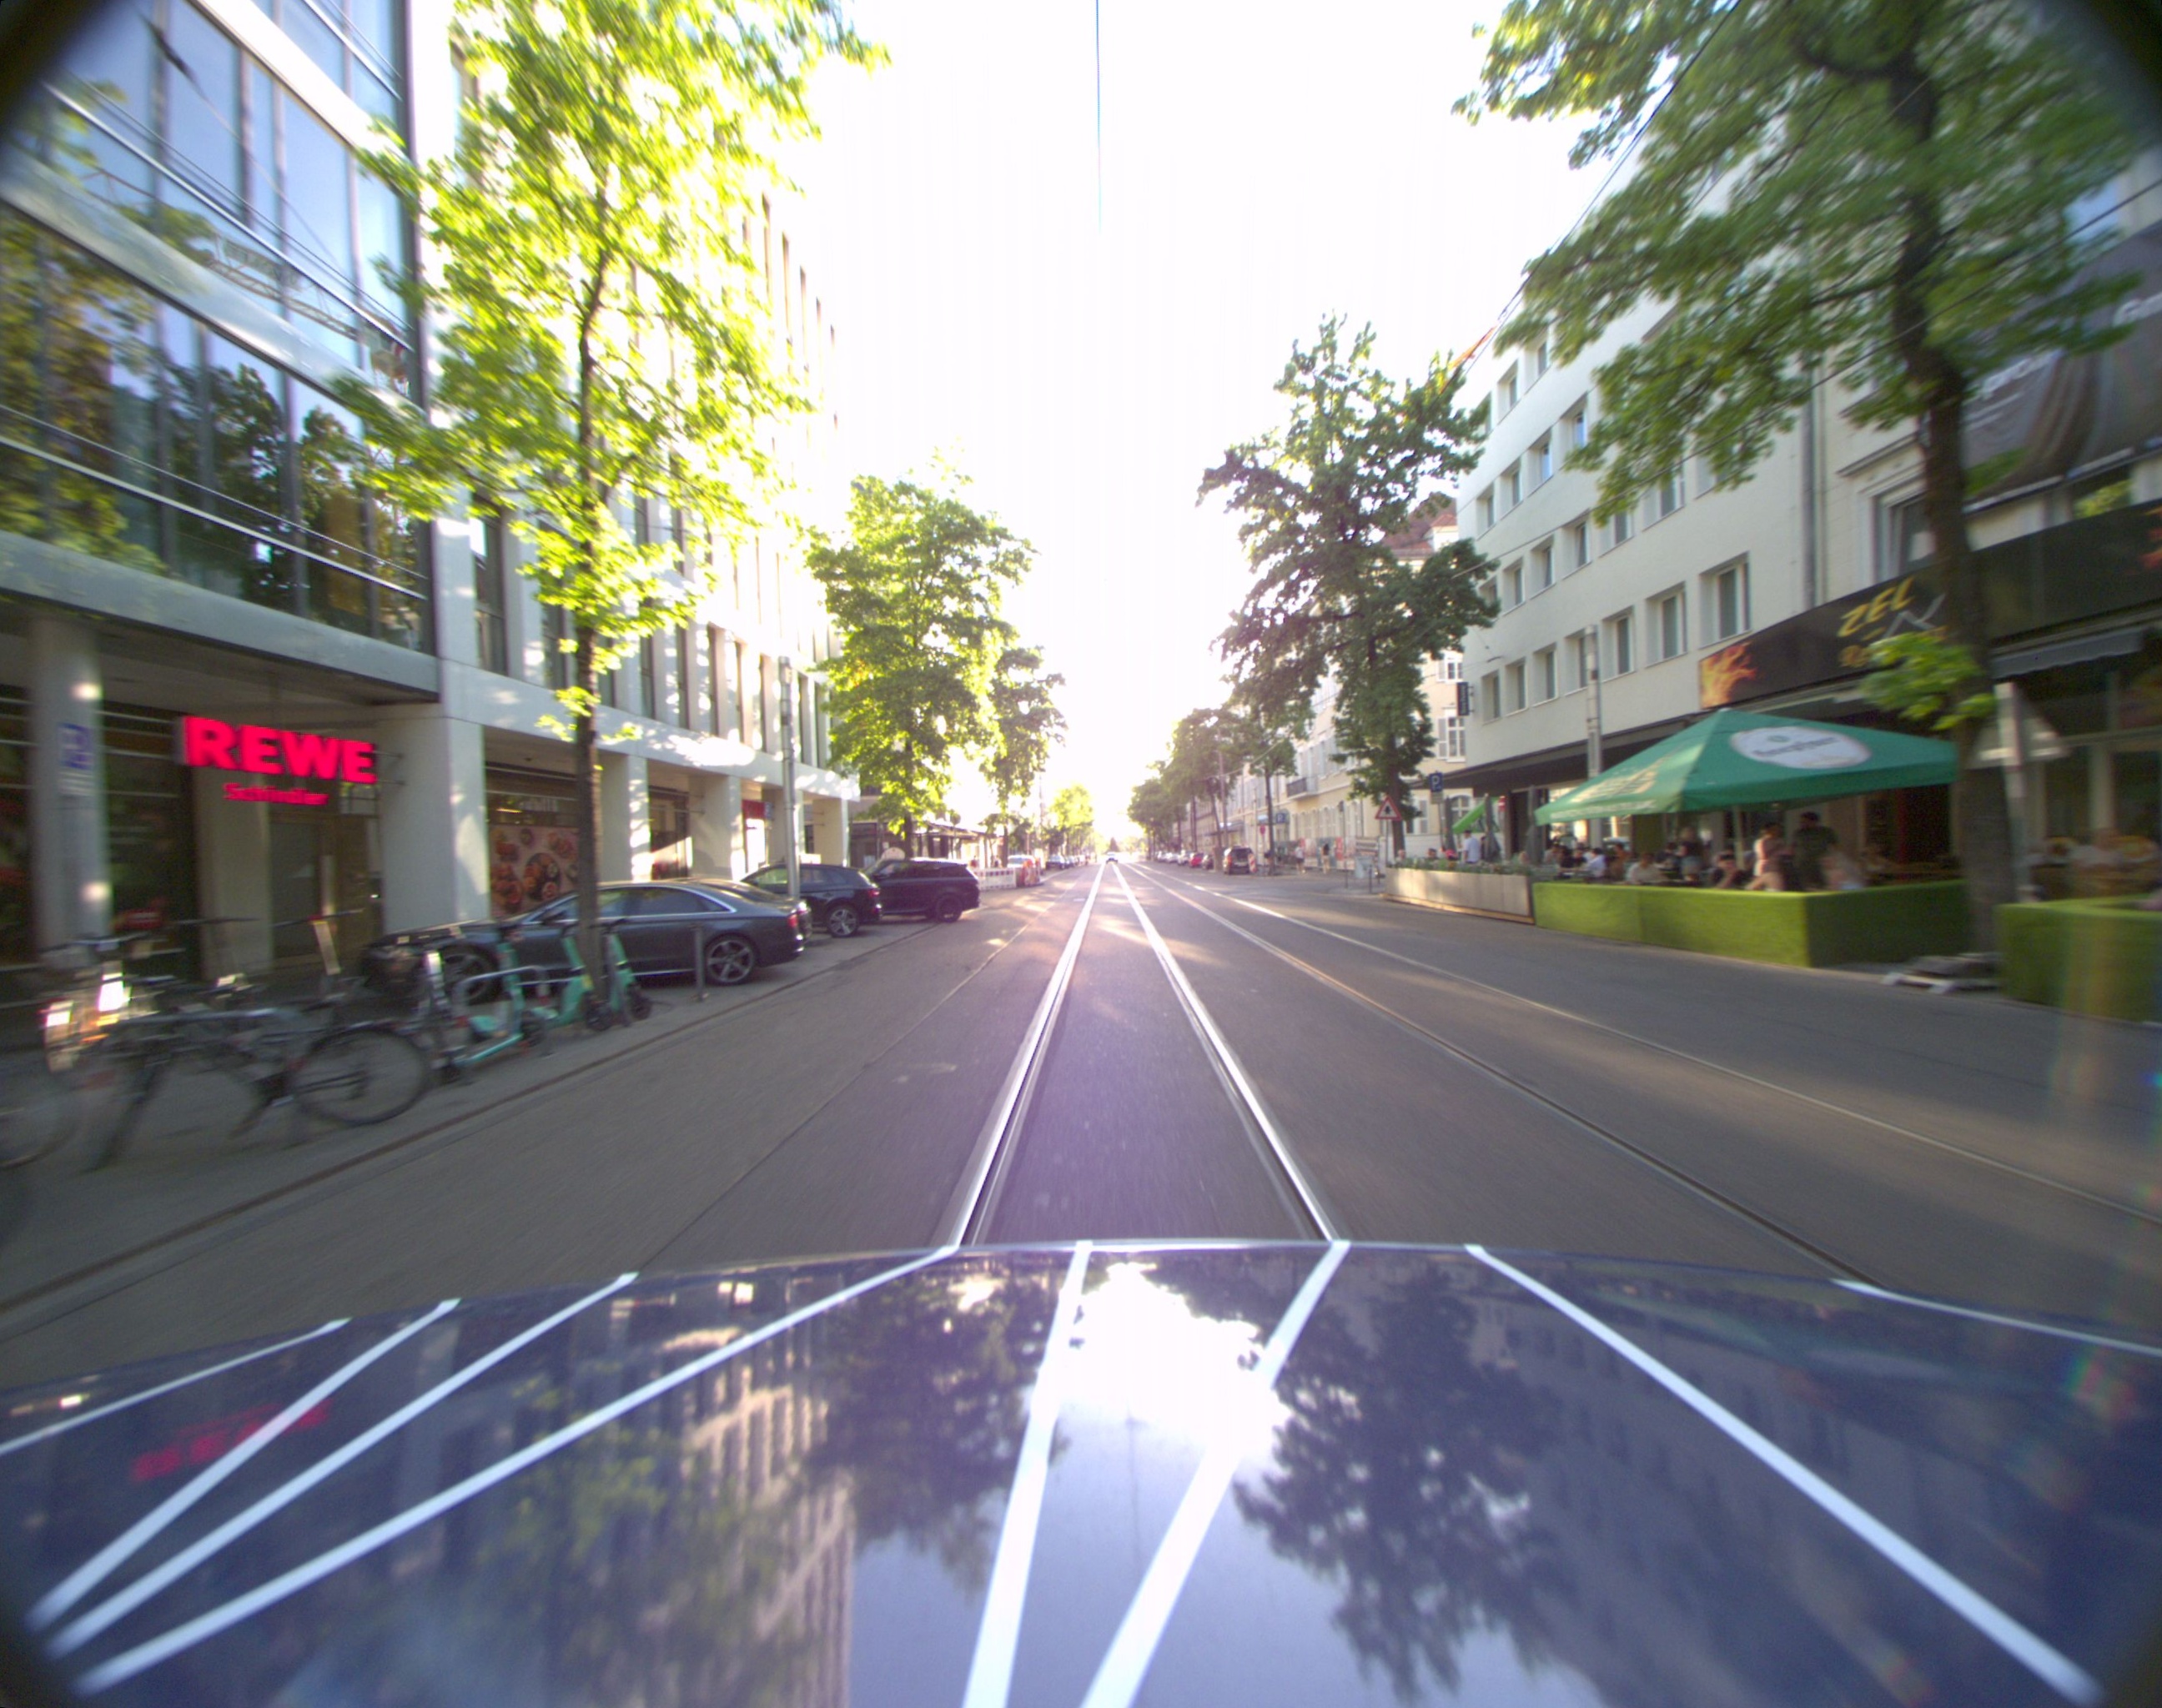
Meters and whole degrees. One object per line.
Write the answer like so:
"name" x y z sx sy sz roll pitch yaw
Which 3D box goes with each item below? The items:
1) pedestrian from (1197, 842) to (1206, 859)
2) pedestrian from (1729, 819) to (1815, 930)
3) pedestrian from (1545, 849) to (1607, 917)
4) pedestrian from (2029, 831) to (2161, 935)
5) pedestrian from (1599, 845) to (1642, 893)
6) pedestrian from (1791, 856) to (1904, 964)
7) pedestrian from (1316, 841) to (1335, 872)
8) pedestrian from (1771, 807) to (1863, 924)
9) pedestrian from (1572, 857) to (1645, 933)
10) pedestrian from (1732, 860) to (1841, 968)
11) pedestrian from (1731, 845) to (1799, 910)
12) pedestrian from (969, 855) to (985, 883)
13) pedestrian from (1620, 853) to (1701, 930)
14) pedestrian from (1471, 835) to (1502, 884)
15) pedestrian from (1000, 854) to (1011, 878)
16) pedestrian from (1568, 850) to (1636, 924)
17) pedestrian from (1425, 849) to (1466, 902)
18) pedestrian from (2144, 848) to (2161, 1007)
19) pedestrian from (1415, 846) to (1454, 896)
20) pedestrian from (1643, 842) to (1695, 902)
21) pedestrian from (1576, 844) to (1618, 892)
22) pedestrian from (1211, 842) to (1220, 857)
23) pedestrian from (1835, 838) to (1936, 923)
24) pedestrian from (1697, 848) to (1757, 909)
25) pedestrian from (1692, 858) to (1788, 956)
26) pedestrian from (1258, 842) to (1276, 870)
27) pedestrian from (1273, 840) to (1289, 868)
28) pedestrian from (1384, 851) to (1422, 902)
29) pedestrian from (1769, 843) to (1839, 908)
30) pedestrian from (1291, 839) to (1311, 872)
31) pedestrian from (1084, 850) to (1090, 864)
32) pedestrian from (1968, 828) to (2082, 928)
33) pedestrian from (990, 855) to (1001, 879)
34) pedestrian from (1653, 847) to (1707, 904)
"pedestrian" 13.217 -0.395 83.348 0.746 1.732 0.934 -5 1 3
"pedestrian" 10.796 0.311 11.895 0.620 1.661 0.697 -4 1 2
"pedestrian" 10.074 0.581 15.496 0.691 1.304 0.807 -4 1 3
"pedestrian" 13.053 0.356 9.741 0.738 1.224 0.788 -5 1 2
"pedestrian" 13.619 0.367 19.204 0.553 1.155 0.687 -4 1 3
"pedestrian" 9.529 0.677 9.477 0.620 1.237 0.697 -5 1 2
"pedestrian" 13.347 0.142 41.531 0.708 1.646 0.967 -2 0 4
"pedestrian" 11.526 0.172 11.926 0.679 1.746 0.697 -4 1 4
"pedestrian" 9.305 0.712 13.427 0.709 1.252 0.772 -4 1 4
"pedestrian" 8.760 0.724 9.457 0.620 1.237 0.697 -5 1 2
"pedestrian" 12.853 0.431 14.298 0.603 1.167 0.687 -4 1 3
"pedestrian" -7.030 1.002 51.325 0.835 1.886 0.918 -1 1 5
"pedestrian" 10.081 0.635 13.245 0.709 1.252 0.869 -4 1 4
"pedestrian" 14.653 0.209 27.468 0.864 1.730 0.799 -2 0 21
"pedestrian" -5.849 0.922 58.860 0.707 1.820 0.635 -2 1 2
"pedestrian" 10.009 0.612 14.621 0.709 1.339 0.781 -4 1 4
"pedestrian" 9.924 0.582 20.703 0.691 1.378 0.807 -4 1 3
"pedestrian" 9.447 0.597 6.013 0.756 1.335 0.873 -5 1 2
"pedestrian" 10.203 0.479 21.947 0.691 1.378 0.807 -4 1 3
"pedestrian" 13.334 0.400 17.244 0.603 1.291 0.687 -4 1 3
"pedestrian" 13.128 0.352 19.329 0.553 1.155 0.687 -4 1 3
"pedestrian" 14.649 -0.478 82.907 0.746 1.571 0.934 -5 1 2
"pedestrian" 12.550 0.402 11.879 0.671 1.235 0.799 -4 1 2
"pedestrian" 12.884 0.484 15.172 0.553 1.155 0.687 -4 1 3
"pedestrian" 9.002 0.707 10.398 0.620 1.237 0.697 -5 1 2
"pedestrian" 12.344 0.118 50.513 0.867 1.771 0.884 -5 1 2
"pedestrian" 13.257 0.023 50.473 0.721 1.802 0.876 -5 1 2
"pedestrian" 9.254 0.634 21.874 0.691 1.378 0.807 -4 1 3
"pedestrian" 13.526 0.386 14.234 0.603 1.151 0.687 -4 1 3
"pedestrian" 12.501 0.098 43.134 0.776 1.782 0.984 -5 1 4
"pedestrian" 0.854 0.431 108.371 0.705 1.858 0.792 -2 1 0
"pedestrian" 13.083 0.320 10.553 0.620 1.302 0.697 -5 1 2
"pedestrian" -6.632 0.999 58.714 0.689 1.820 0.635 -2 1 2
"pedestrian" 12.808 0.452 16.255 0.553 1.155 0.687 -4 1 3
